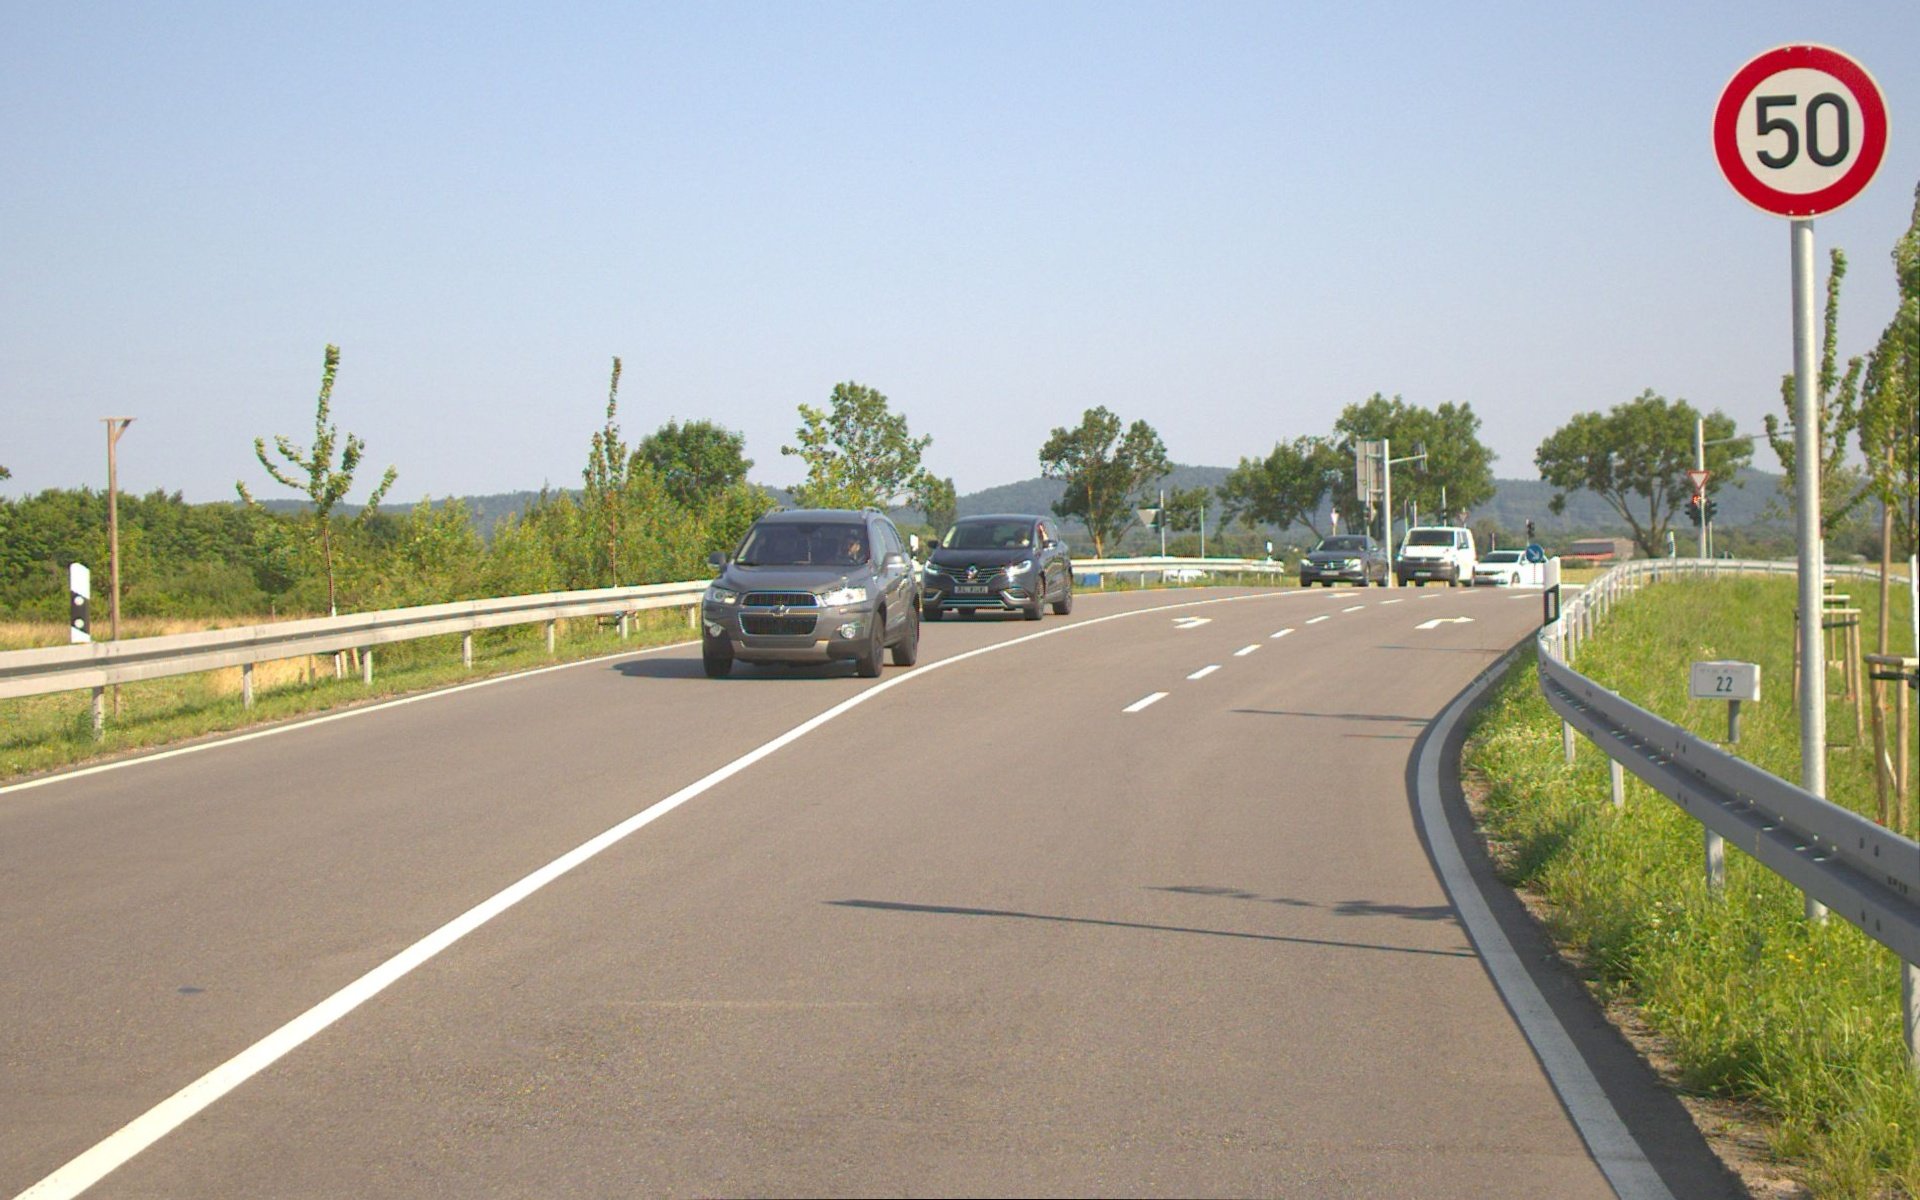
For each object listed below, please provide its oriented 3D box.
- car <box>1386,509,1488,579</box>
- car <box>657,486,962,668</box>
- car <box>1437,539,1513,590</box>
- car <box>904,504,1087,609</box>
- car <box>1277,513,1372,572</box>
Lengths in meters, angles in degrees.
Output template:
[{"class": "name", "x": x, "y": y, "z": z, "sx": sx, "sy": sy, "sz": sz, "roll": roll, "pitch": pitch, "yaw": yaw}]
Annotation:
[{"class": "car", "x": 15.205, "y": -1.815, "z": 109.461, "sx": 2.117, "sy": 2.006, "sz": 5.149, "roll": 2, "pitch": 4, "yaw": 20}, {"class": "car", "x": -1.504, "y": -0.189, "z": 36.690, "sx": 1.883, "sy": 1.792, "sz": 5.088, "roll": 1, "pitch": -1, "yaw": 14}, {"class": "car", "x": 18.060, "y": -1.262, "z": 120.451, "sx": 2.116, "sy": 1.488, "sz": 5.150, "roll": 1, "pitch": 3, "yaw": 14}, {"class": "car", "x": 0.625, "y": -0.718, "z": 55.562, "sx": 1.995, "sy": 1.587, "sz": 4.860, "roll": 1, "pitch": 1, "yaw": 12}, {"class": "car", "x": 10.172, "y": -1.617, "z": 95.646, "sx": 1.796, "sy": 1.443, "sz": 4.702, "roll": 1, "pitch": 3, "yaw": 17}]
